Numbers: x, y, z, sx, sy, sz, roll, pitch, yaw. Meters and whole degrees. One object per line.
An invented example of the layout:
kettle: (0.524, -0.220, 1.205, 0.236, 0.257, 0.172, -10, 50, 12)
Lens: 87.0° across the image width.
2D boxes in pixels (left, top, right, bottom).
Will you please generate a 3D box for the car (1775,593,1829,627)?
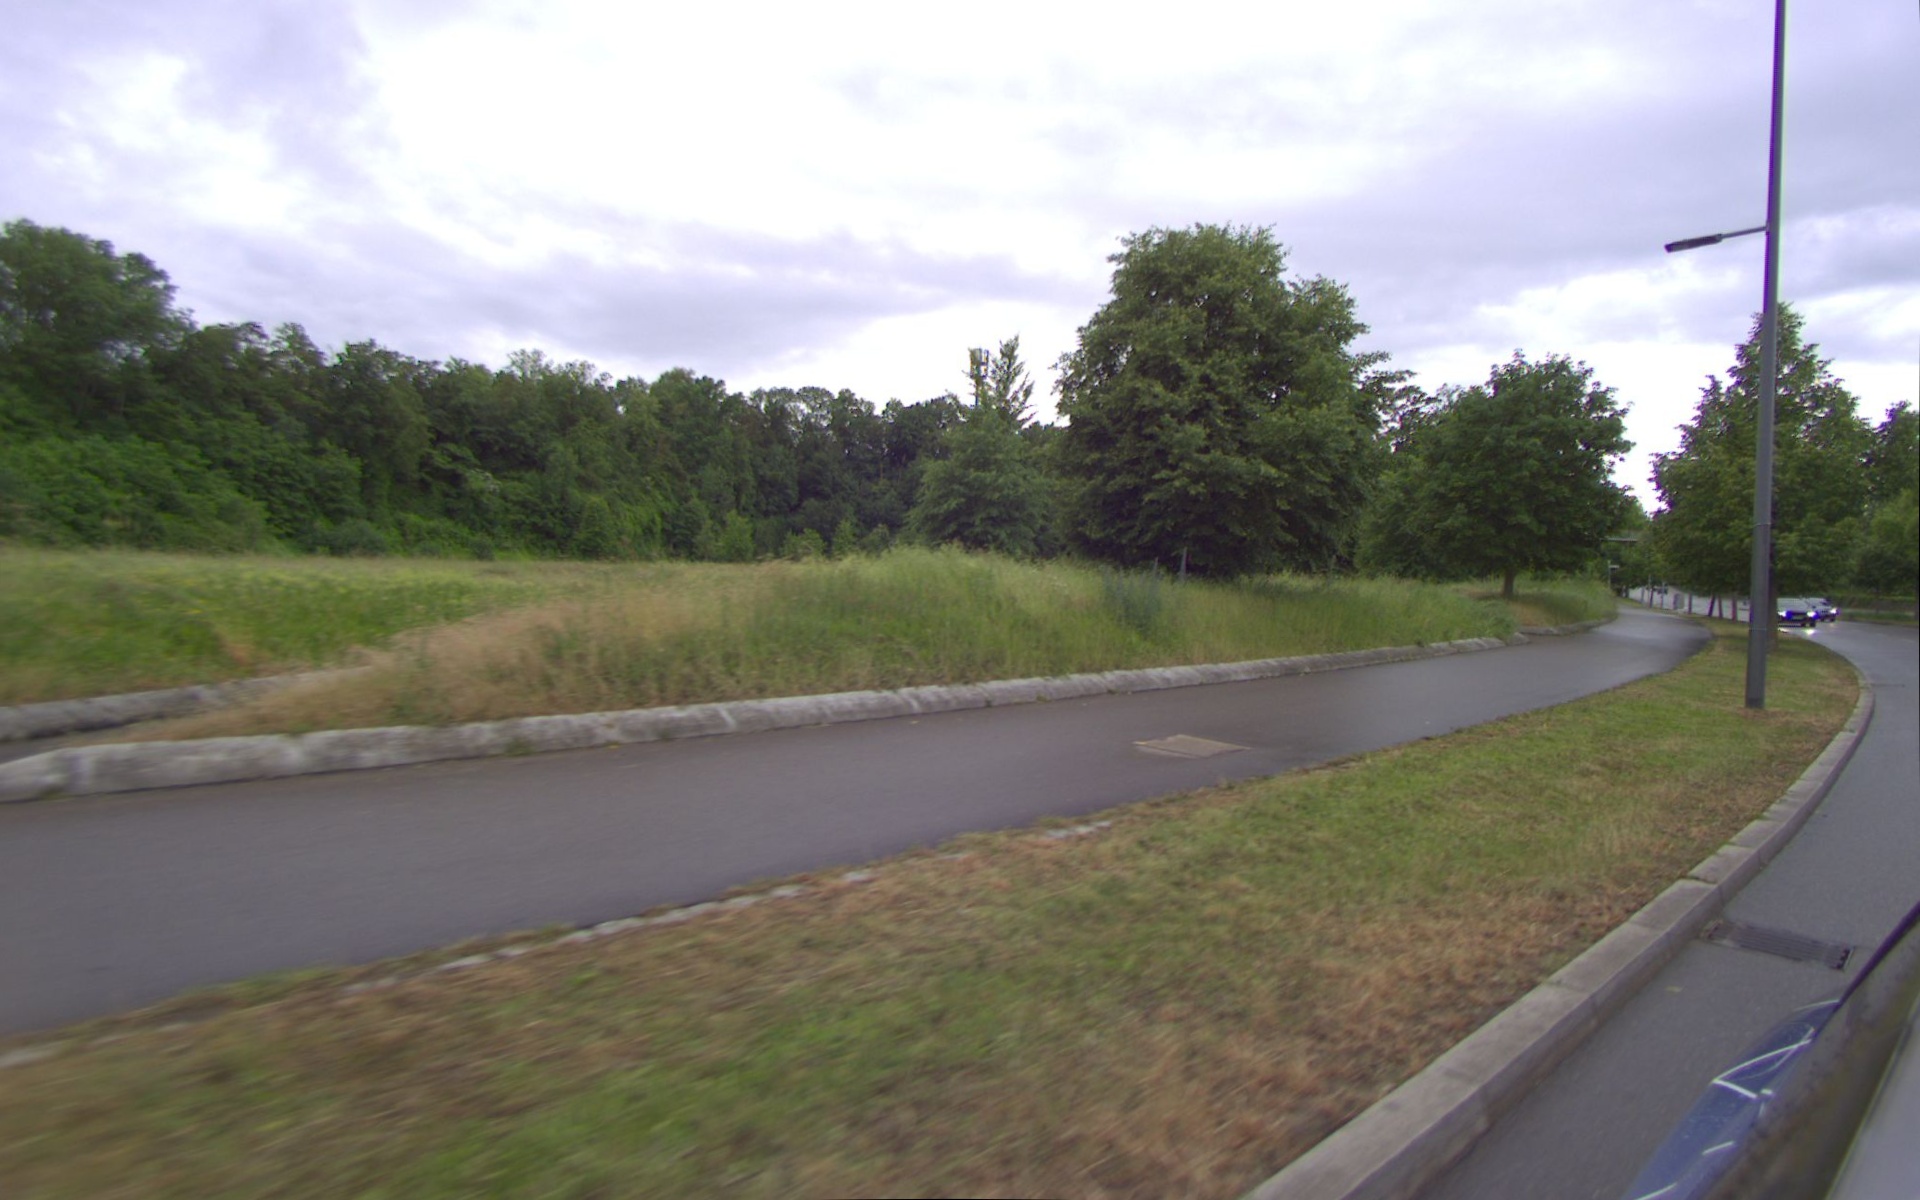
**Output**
car: (44.248, 0.482, 53.269, 1.814, 1.575, 3.951, 1, 2, 35)

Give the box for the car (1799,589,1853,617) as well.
car: (54.223, 0.178, 63.411, 1.810, 1.575, 3.959, 1, 2, 30)
